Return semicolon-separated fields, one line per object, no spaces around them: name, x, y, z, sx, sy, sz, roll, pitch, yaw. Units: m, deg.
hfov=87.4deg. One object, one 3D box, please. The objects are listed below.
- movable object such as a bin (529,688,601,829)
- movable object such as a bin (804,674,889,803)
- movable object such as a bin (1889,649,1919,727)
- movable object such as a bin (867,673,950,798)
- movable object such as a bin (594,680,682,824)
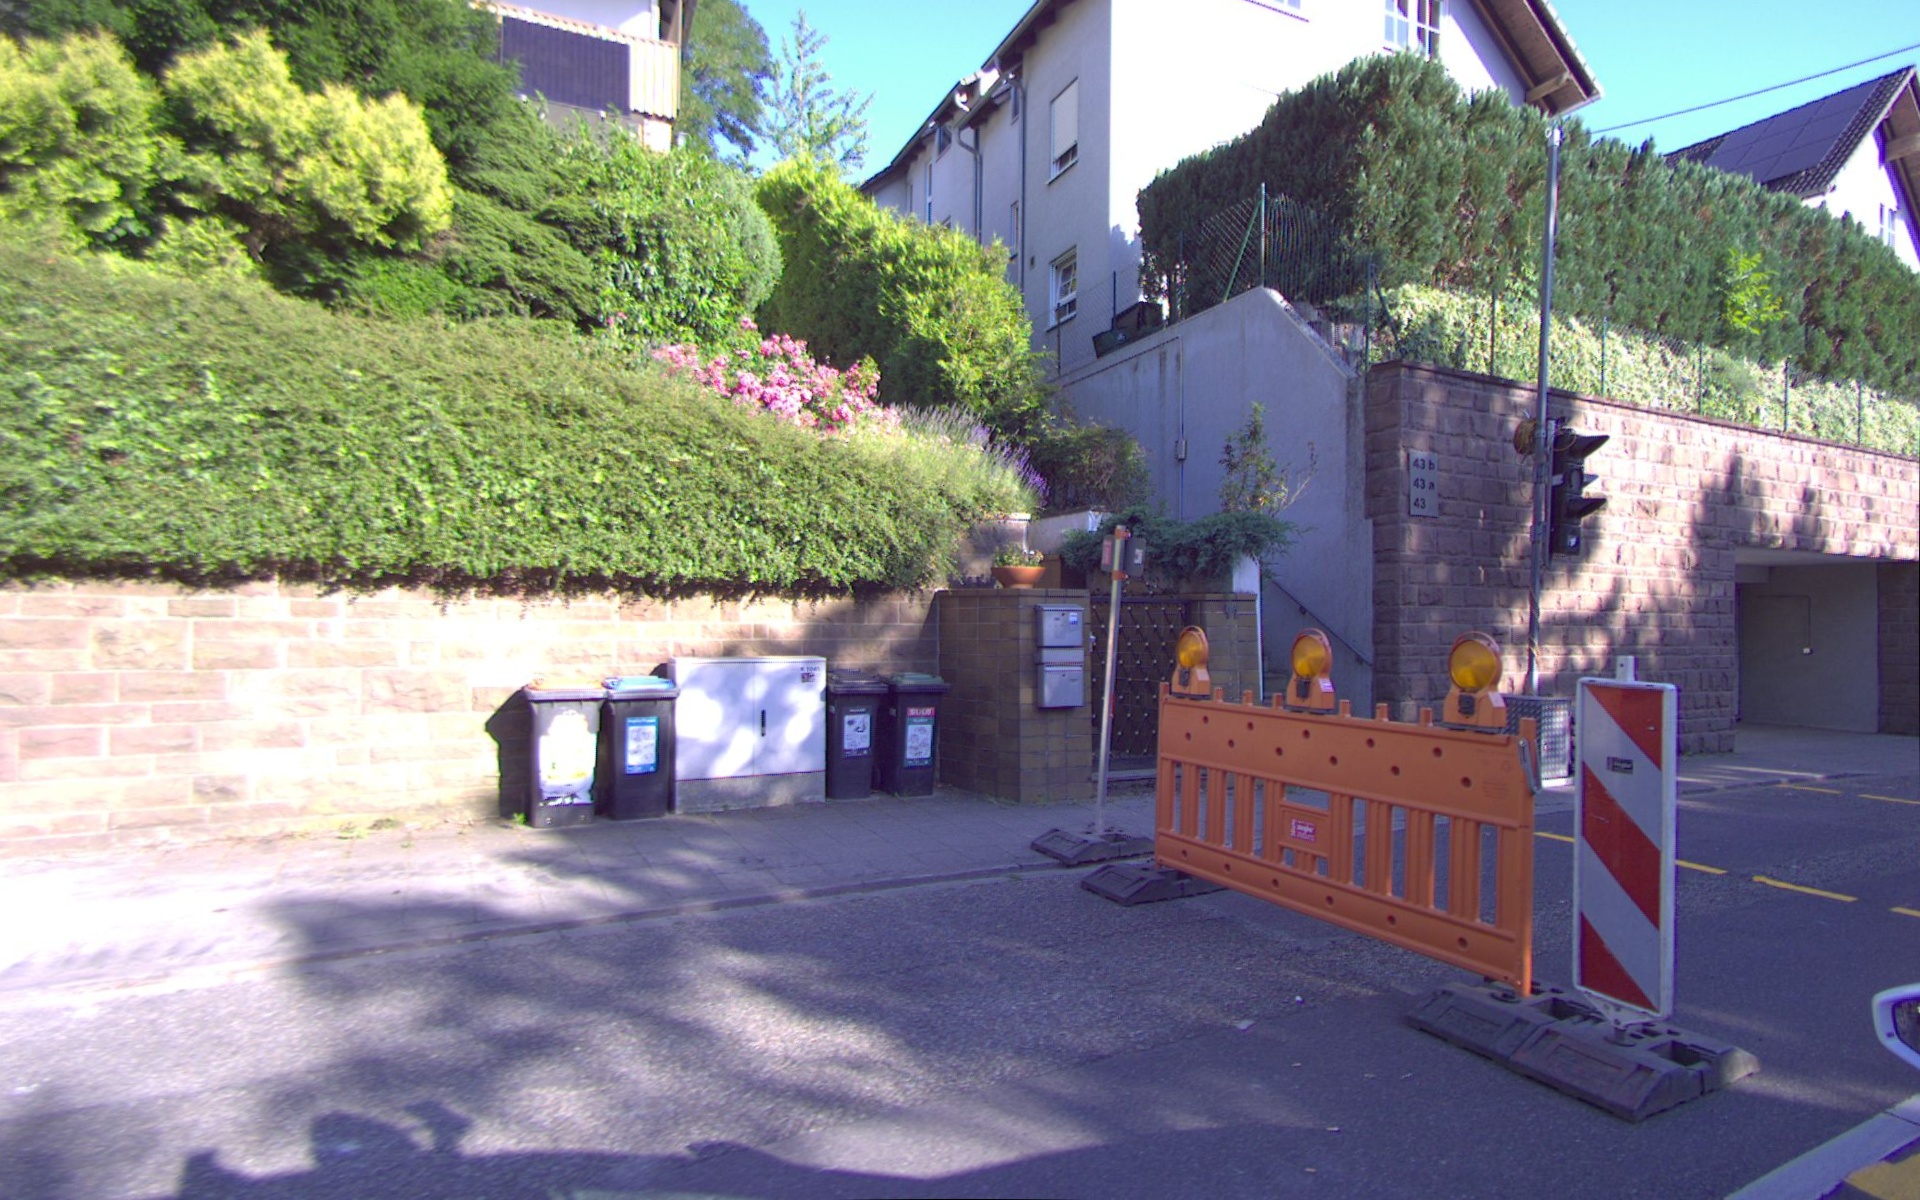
movable object such as a bin;-2.609;1.025;6.626;0.387;0.845;0.452;1;-1;-28
movable object such as a bin;-0.862;1.031;7.607;0.494;0.896;0.454;1;0;-28
movable object such as a bin;15.040;1.367;15.640;0.657;1.191;0.656;1;-1;-26
movable object such as a bin;-0.404;1.040;7.851;0.494;0.896;0.454;1;0;-28
movable object such as a bin;-2.198;1.014;6.844;0.494;0.896;0.454;1;0;-28
